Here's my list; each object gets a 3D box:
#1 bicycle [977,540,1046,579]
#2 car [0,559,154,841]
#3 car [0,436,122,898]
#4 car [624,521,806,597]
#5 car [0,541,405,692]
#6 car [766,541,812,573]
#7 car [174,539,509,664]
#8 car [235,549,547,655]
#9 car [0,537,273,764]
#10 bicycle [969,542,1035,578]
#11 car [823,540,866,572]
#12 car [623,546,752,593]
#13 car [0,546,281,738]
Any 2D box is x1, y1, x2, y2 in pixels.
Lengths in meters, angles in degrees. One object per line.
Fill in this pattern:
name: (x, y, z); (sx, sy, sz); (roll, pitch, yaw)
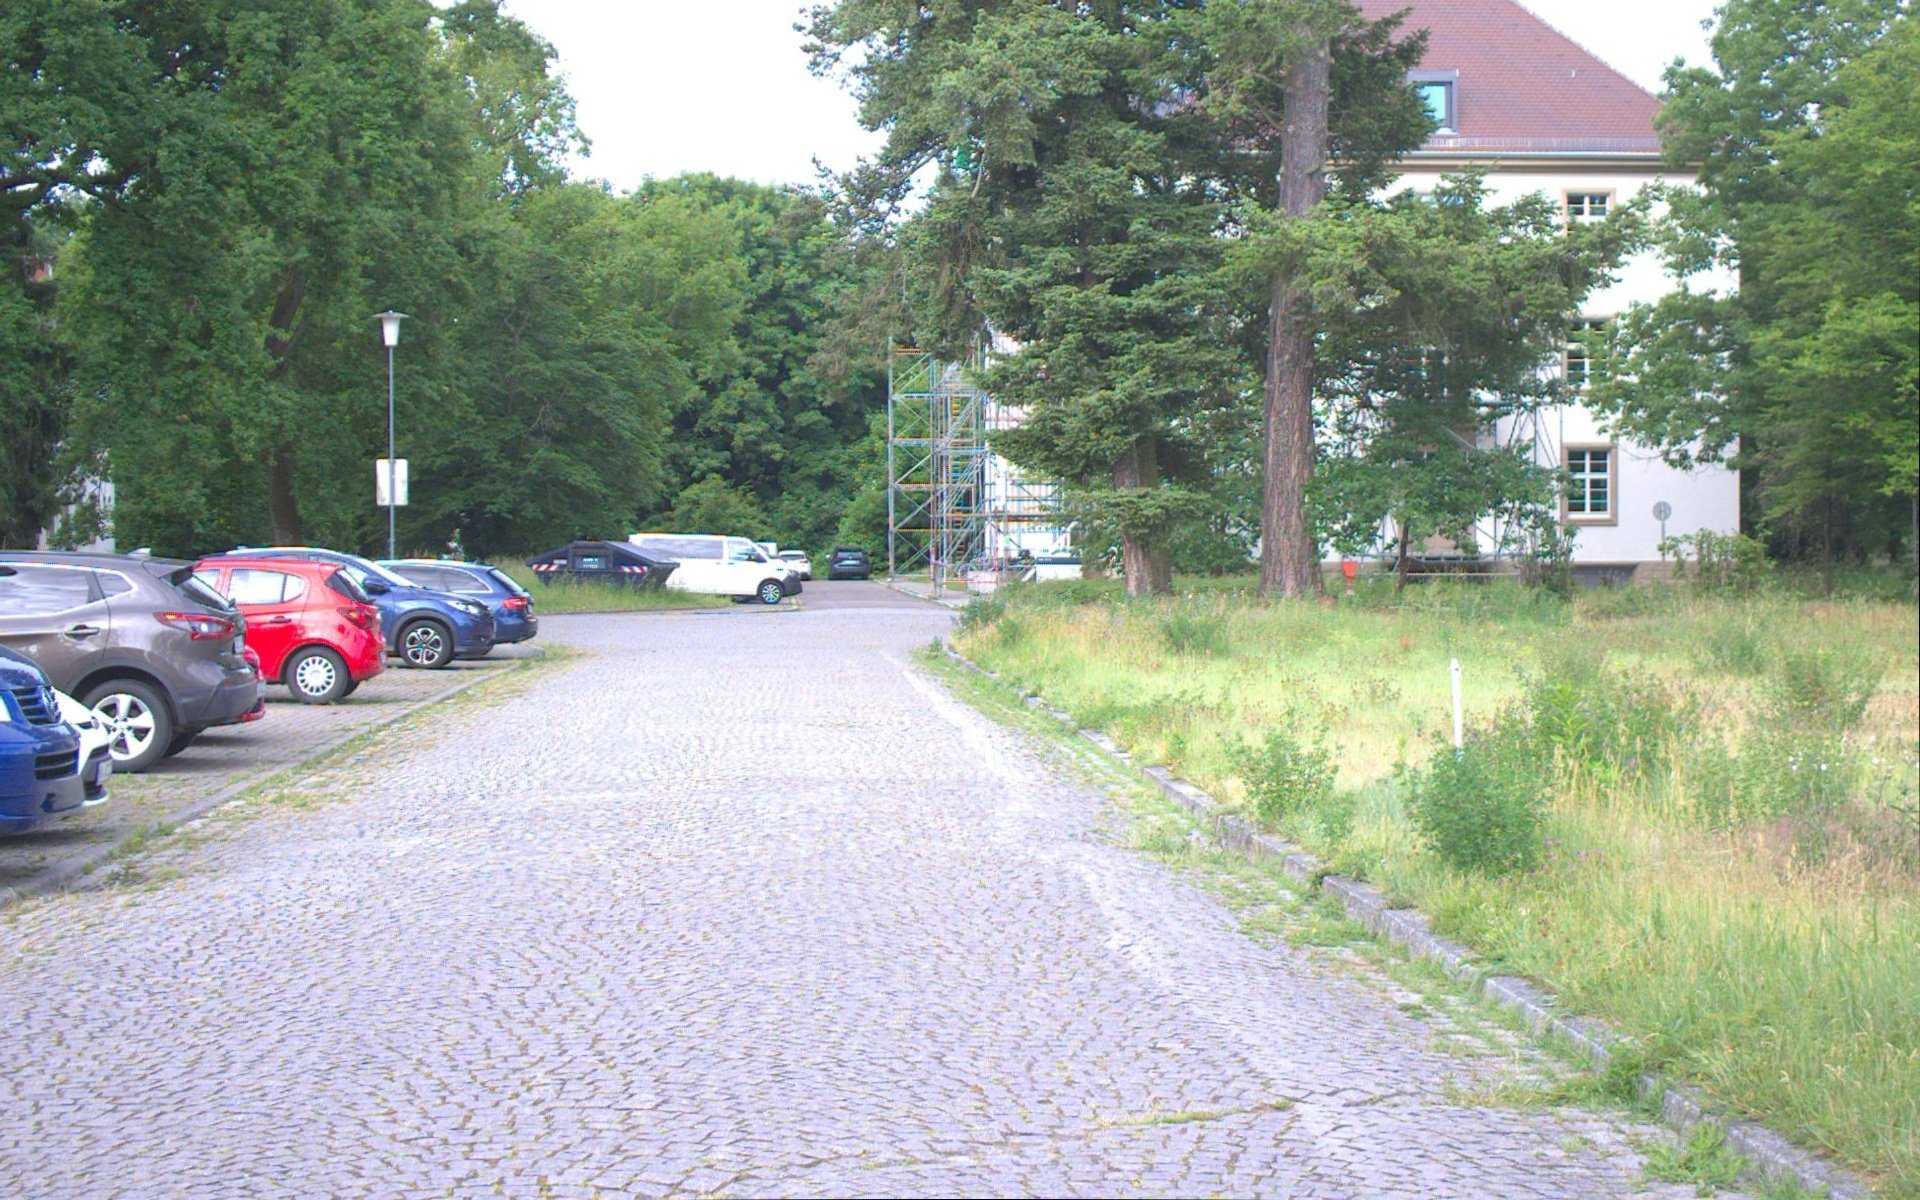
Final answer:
bicycle: (1.701, -1.332, 113.137); (2.240, 1.250, 0.778); (0, 1, 0)
car: (-6.762, 0.534, 19.245); (4.165, 1.505, 1.782); (0, 1, -5)
car: (-6.677, 0.292, 16.652); (4.781, 2.115, 2.115); (0, 1, -4)
car: (-7.117, -1.195, 99.762); (5.233, 2.160, 2.000); (0, 1, -5)
car: (-7.927, 0.148, 35.872); (4.054, 1.520, 1.905); (0, 1, -4)
car: (-8.254, -2.086, 165.779); (2.118, 1.516, 4.001); (0, 1, -4)
car: (-8.247, 0.002, 46.104); (4.227, 1.571, 1.887); (1, 1, -4)
car: (-8.366, 0.011, 50.840); (4.302, 1.456, 1.975); (1, 1, -1)
car: (-7.323, 0.347, 25.517); (4.165, 1.616, 1.987); (0, 1, -5)
bicycle: (1.422, -1.365, 117.386); (2.240, 1.250, 0.778); (0, 1, 0)
car: (-5.594, -2.110, 166.196); (1.951, 1.516, 4.001); (0, 1, -4)
car: (-8.115, -0.924, 102.317); (3.788, 1.390, 2.000); (0, 1, -5)
car: (-7.805, 0.322, 28.239); (4.165, 1.505, 1.908); (0, 1, -4)
